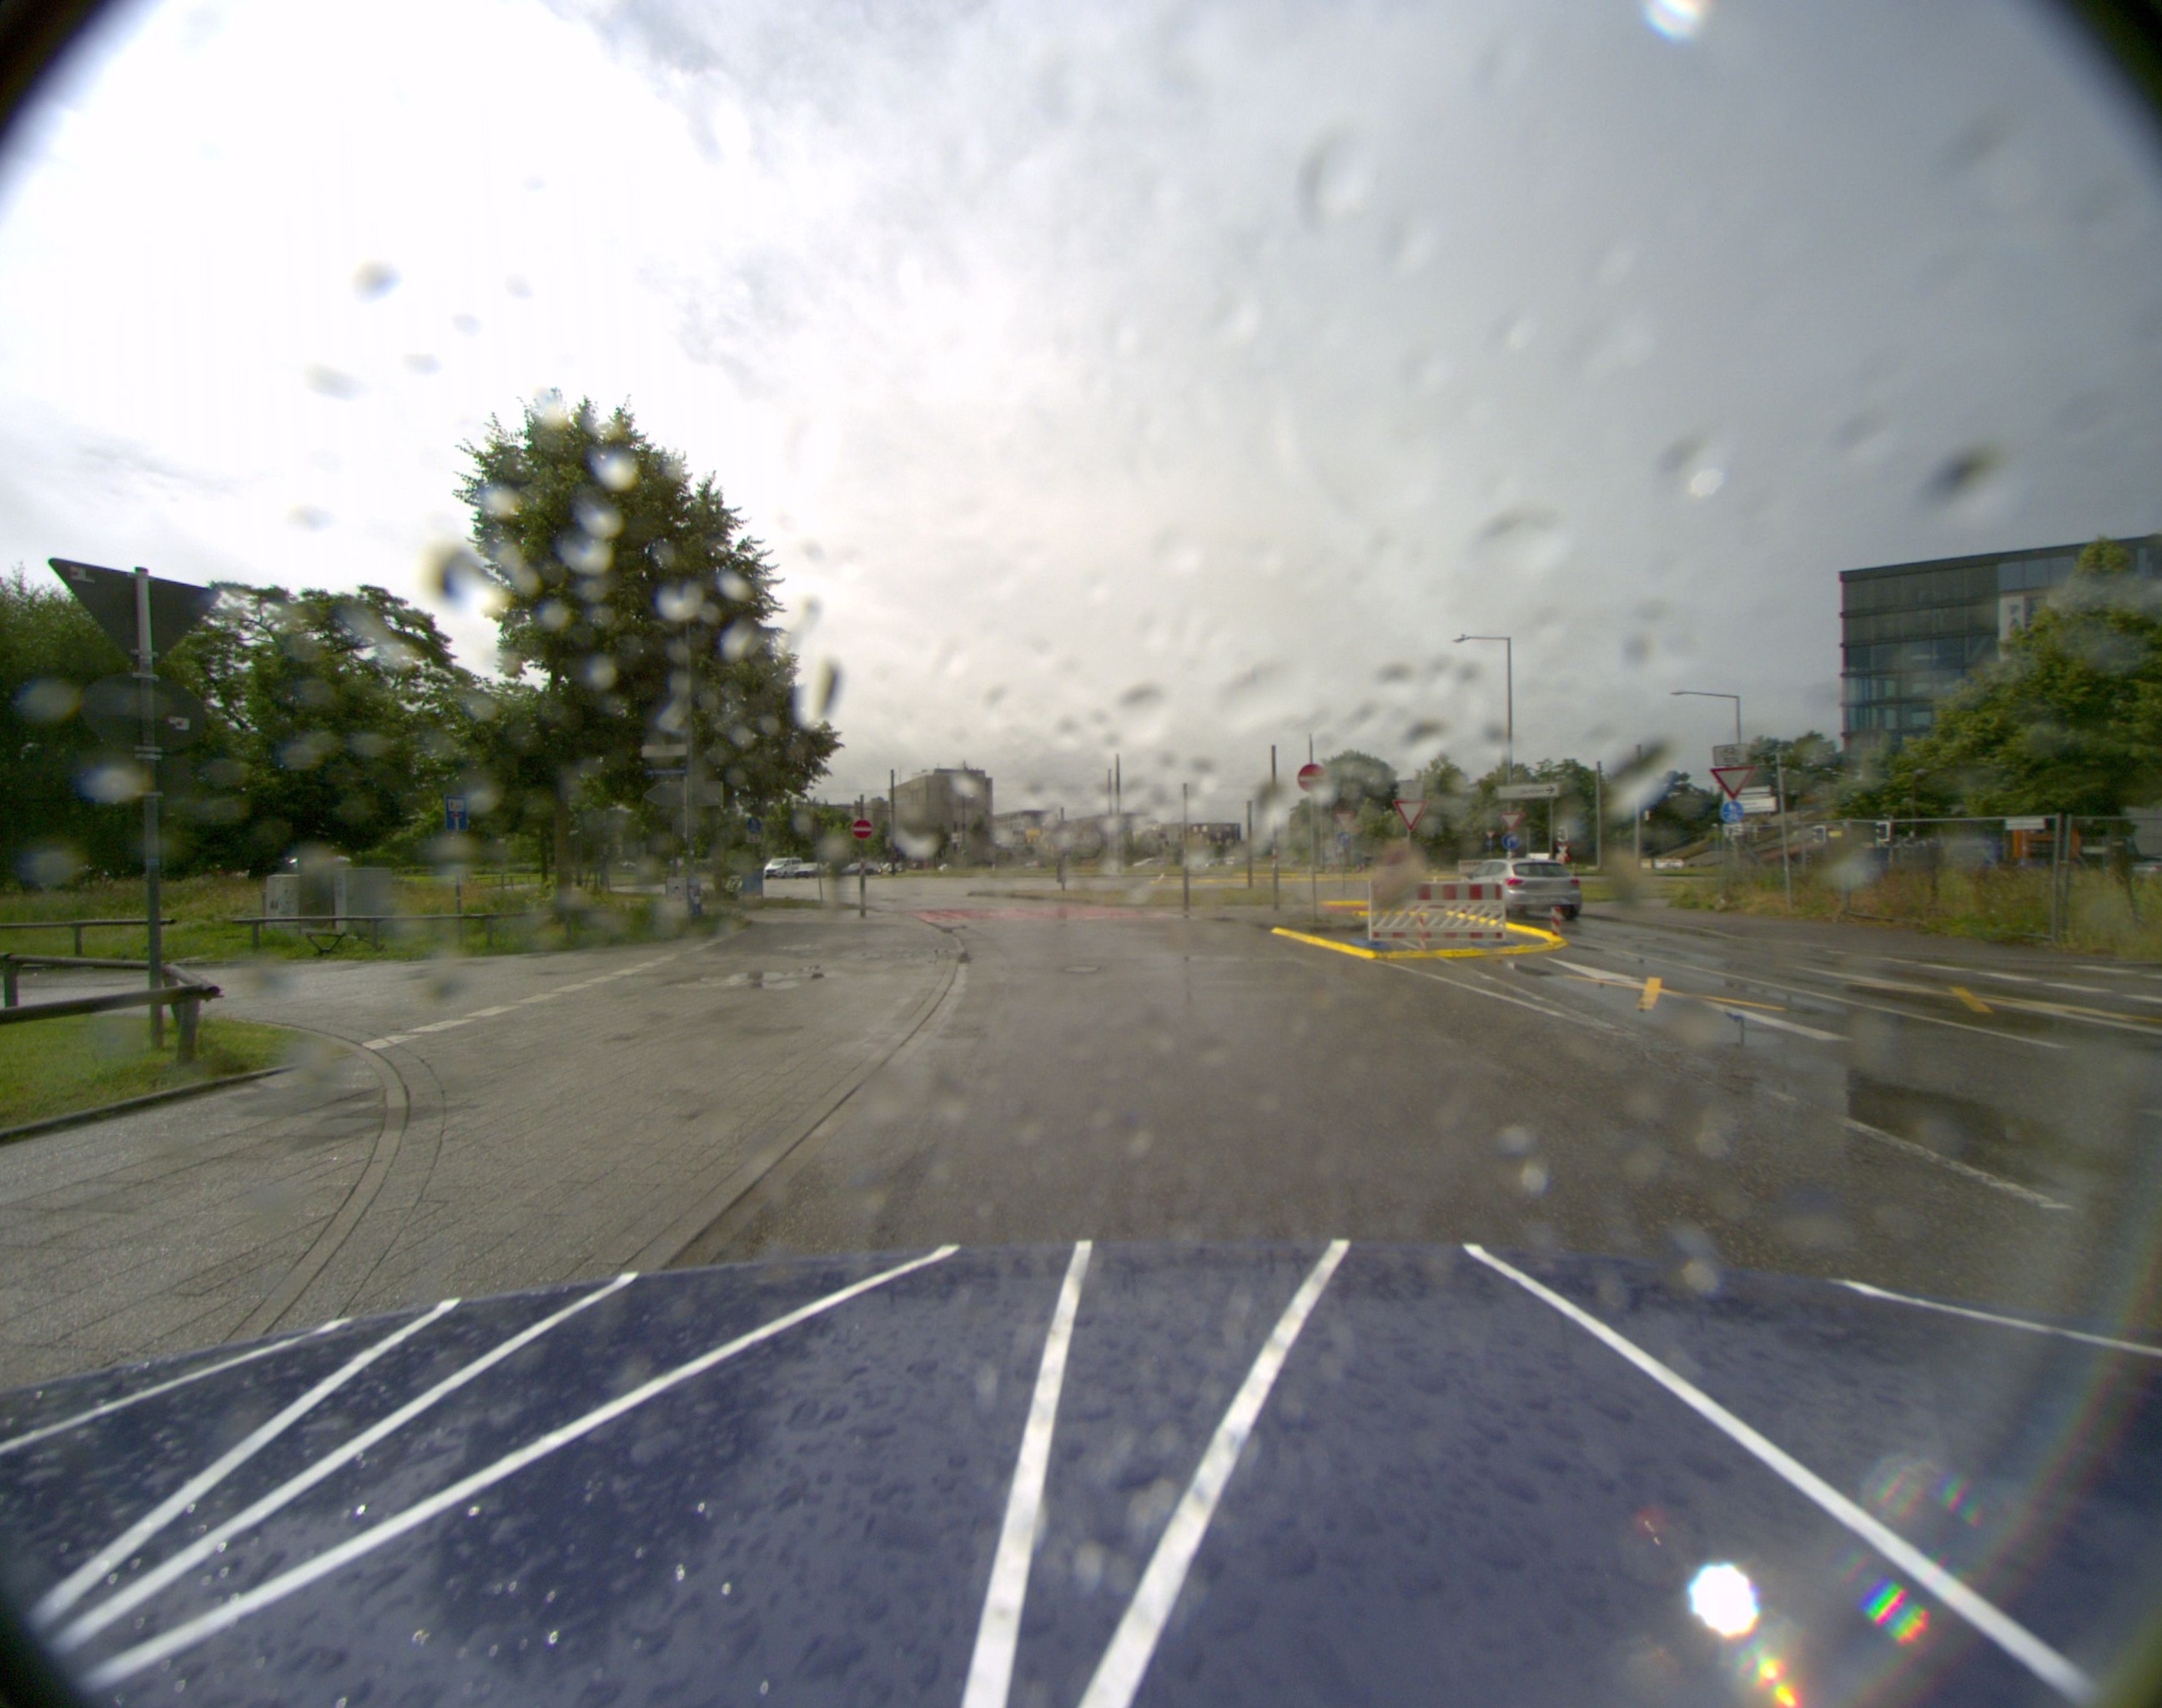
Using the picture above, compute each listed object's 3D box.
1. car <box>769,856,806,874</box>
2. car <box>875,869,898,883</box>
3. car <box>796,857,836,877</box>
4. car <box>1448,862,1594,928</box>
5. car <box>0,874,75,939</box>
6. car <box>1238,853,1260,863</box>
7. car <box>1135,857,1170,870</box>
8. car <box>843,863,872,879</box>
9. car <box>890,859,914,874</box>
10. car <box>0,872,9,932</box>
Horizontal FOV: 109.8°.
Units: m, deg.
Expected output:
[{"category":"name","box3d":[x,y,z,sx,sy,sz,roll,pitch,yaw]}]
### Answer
[{"category":"car","box3d":[-28.549,1.102,73.976,1.891,1.703,4.230,0,0,2]},{"category":"car","box3d":[-25.422,2.865,99.577,1.867,1.739,4.001,0,-1,1]},{"category":"car","box3d":[-23.683,1.164,68.018,1.667,1.678,4.208,-1,-1,7]},{"category":"car","box3d":[10.840,0.945,19.088,1.741,1.406,4.182,-1,0,8]},{"category":"car","box3d":[-26.638,1.260,17.480,1.934,1.539,3.772,0,-1,1]},{"category":"car","box3d":[24.822,0.580,111.942,1.664,1.521,3.488,-2,-1,41]},{"category":"car","box3d":[9.123,1.177,96.998,4.124,1.521,1.665,-1,-1,-29]},{"category":"car","box3d":[-23.309,1.784,79.411,1.769,1.586,4.000,-1,0,1]},{"category":"car","box3d":[-21.947,1.505,93.227,1.867,1.739,4.001,0,-1,1]},{"category":"car","box3d":[-28.963,1.232,17.823,1.934,1.539,4.000,0,-1,1]}]
